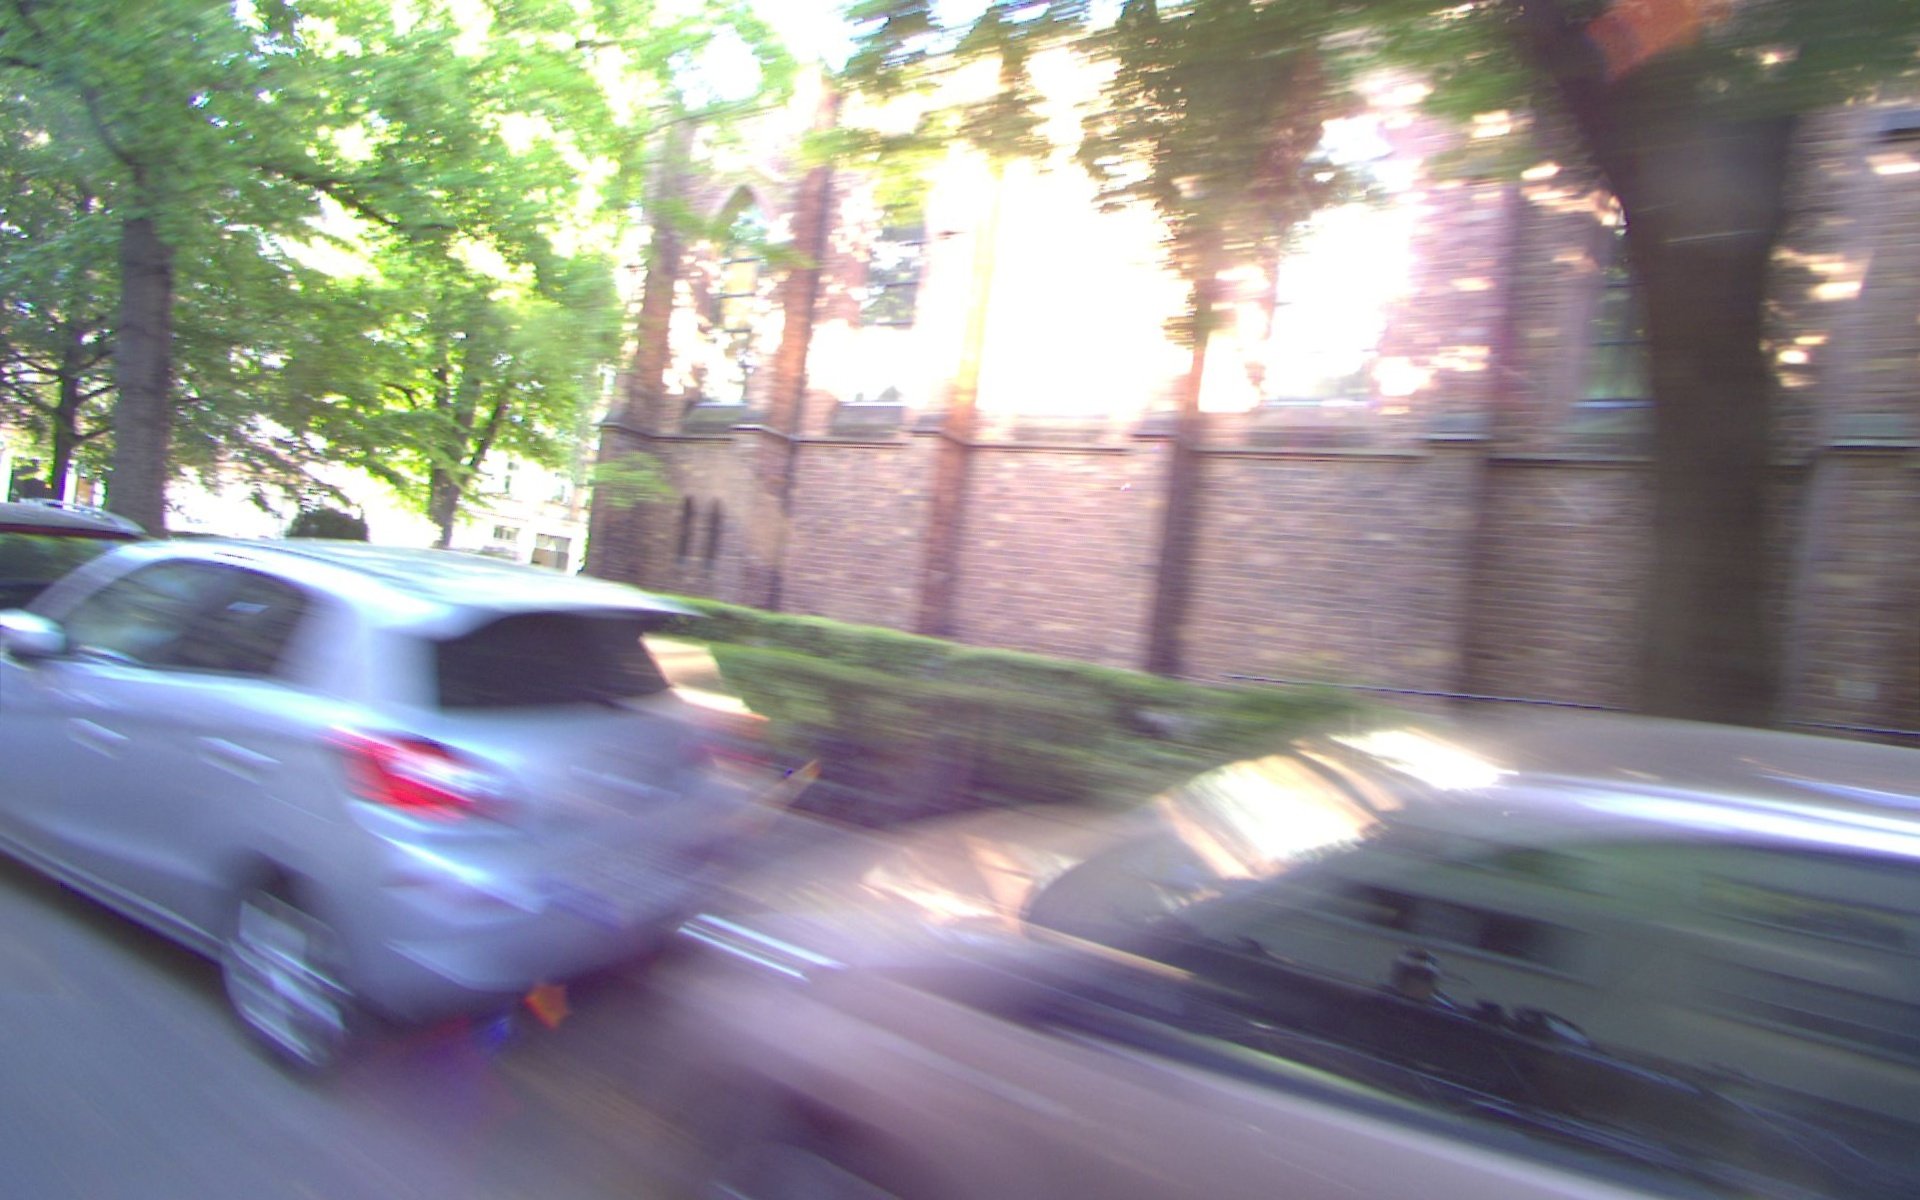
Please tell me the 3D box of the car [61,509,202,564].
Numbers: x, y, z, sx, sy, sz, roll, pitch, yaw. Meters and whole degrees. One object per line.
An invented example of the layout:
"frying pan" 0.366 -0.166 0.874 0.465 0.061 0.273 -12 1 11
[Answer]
"car" -31.905 -2.410 38.821 1.610 1.489 3.856 4 -4 38

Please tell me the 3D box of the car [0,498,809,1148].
"car" -2.568 0.468 4.056 3.566 1.526 1.599 6 3 29

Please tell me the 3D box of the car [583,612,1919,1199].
"car" 1.084 0.929 1.970 3.505 1.488 1.598 6 3 32

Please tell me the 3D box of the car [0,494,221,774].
"car" -6.979 -0.005 6.620 4.616 1.461 1.675 6 3 30

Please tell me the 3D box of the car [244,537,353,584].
"car" -28.513 -1.675 43.429 1.610 1.489 3.532 4 -4 38
